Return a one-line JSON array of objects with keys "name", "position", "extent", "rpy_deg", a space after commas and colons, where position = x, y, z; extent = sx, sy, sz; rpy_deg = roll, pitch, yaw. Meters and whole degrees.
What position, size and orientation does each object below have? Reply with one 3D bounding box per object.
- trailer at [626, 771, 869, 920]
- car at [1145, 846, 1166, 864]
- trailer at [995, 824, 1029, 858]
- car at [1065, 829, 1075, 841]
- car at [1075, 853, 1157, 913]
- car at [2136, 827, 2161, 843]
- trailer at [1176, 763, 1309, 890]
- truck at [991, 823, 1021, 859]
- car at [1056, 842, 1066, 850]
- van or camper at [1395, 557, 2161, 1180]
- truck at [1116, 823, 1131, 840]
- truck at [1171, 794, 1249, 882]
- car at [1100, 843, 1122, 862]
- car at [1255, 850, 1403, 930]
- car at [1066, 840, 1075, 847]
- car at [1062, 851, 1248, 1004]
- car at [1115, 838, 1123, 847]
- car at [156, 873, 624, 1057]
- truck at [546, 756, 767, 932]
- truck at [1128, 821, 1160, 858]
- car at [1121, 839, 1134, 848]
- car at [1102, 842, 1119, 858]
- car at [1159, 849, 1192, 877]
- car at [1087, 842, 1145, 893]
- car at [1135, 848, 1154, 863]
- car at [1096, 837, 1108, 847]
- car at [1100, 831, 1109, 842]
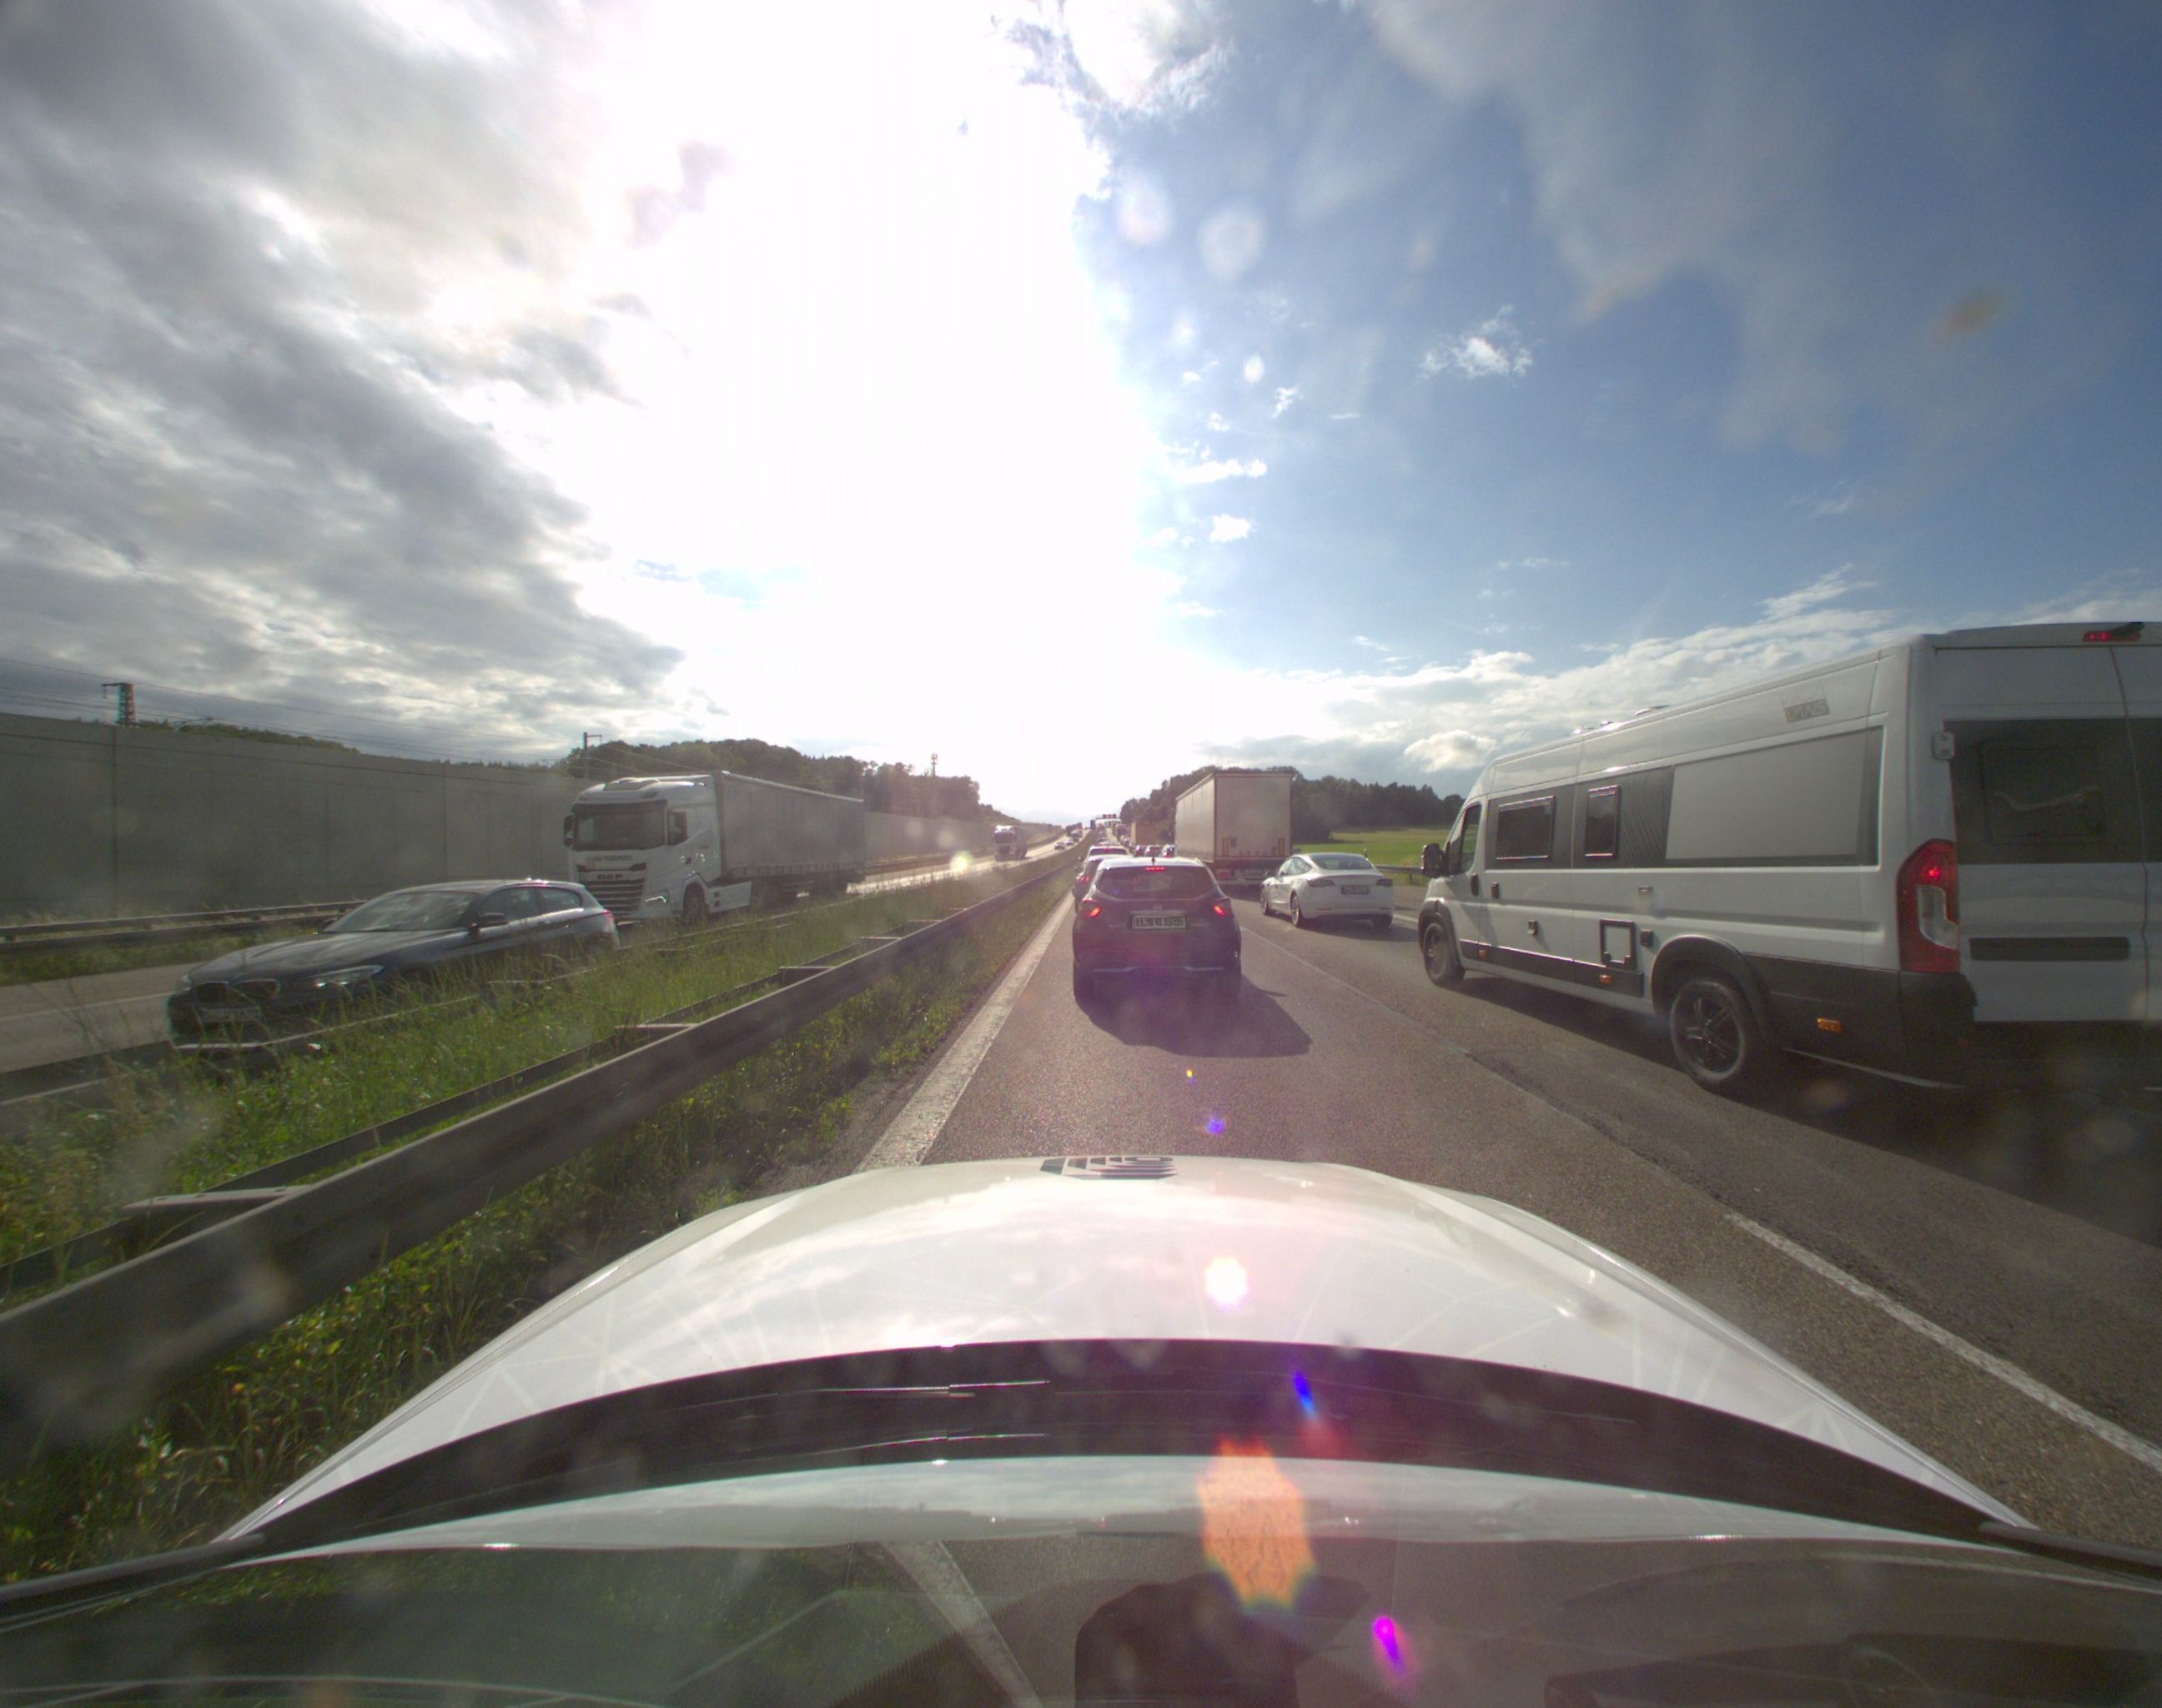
[{"name": "trailer", "position": [-11.013, -0.249, 29.379], "extent": [2.674, 4.037, 13.795], "rpy_deg": [-2, 0, 1]}, {"name": "car", "position": [7.589, 0.066, 83.342], "extent": [1.866, 1.644, 4.234], "rpy_deg": [-1, 1, 2]}, {"name": "trailer", "position": [-8.871, -1.575, 106.449], "extent": [2.780, 4.077, 13.523], "rpy_deg": [-3, 0, 1]}, {"name": "car", "position": [-2.763, -4.728, 207.057], "extent": [2.096, 2.870, 5.637], "rpy_deg": [-1, 0, 1]}, {"name": "car", "position": [0.888, 0.677, 21.008], "extent": [1.866, 1.357, 4.234], "rpy_deg": [-1, 0, 2]}, {"name": "car", "position": [98.602, -1.739, 74.725], "extent": [4.255, 1.432, 1.810], "rpy_deg": [0, 0, -43]}, {"name": "trailer", "position": [5.899, -0.796, 32.505], "extent": [3.118, 4.011, 13.373], "rpy_deg": [0, -1, 2]}, {"name": "truck", "position": [-9.037, -1.580, 98.953], "extent": [2.766, 4.088, 5.533], "rpy_deg": [-3, 0, 1]}, {"name": "car", "position": [-3.616, -1.478, 149.506], "extent": [1.646, 1.451, 3.957], "rpy_deg": [-1, 0, 1]}, {"name": "van or camper", "position": [4.836, 0.046, 6.692], "extent": [2.207, 2.681, 6.335], "rpy_deg": [-1, 0, 2]}, {"name": "truck", "position": [12.022, -6.317, 231.257], "extent": [3.453, 4.576, 12.442], "rpy_deg": [0, 1, 0]}, {"name": "truck", "position": [6.186, -0.702, 39.778], "extent": [3.121, 4.016, 5.166], "rpy_deg": [0, -1, 2]}, {"name": "car", "position": [2.694, -0.174, 73.350], "extent": [1.866, 1.644, 4.234], "rpy_deg": [-1, 1, 2]}, {"name": "car", "position": [4.986, 0.644, 17.041], "extent": [1.782, 1.394, 4.437], "rpy_deg": [-1, 0, 1]}, {"name": "car", "position": [-2.359, -2.276, 179.489], "extent": [1.866, 1.451, 4.234], "rpy_deg": [-1, 0, 2]}, {"name": "car", "position": [0.787, 0.710, 10.006], "extent": [1.766, 1.451, 4.234], "rpy_deg": [-1, 0, 2]}, {"name": "car", "position": [9.566, -2.927, 205.780], "extent": [1.866, 2.158, 5.214], "rpy_deg": [-1, 3, 1]}, {"name": "car", "position": [-6.894, 0.981, 8.779], "extent": [1.627, 1.401, 3.897], "rpy_deg": [-1, 0, 1]}, {"name": "truck", "position": [-11.176, -0.246, 22.194], "extent": [2.675, 4.068, 5.881], "rpy_deg": [-2, 0, 1]}, {"name": "truck", "position": [8.141, -1.772, 106.299], "extent": [3.286, 4.577, 12.440], "rpy_deg": [0, 0, 0]}, {"name": "car", "position": [8.493, -1.906, 148.700], "extent": [1.868, 1.644, 4.230], "rpy_deg": [-1, 2, -2]}, {"name": "car", "position": [3.351, -0.453, 92.191], "extent": [1.866, 1.644, 4.235], "rpy_deg": [-1, 2, 2]}, {"name": "car", "position": [5.781, 0.535, 50.092], "extent": [1.691, 1.610, 4.440], "rpy_deg": [-1, 0, 3]}, {"name": "car", "position": [1.209, 0.440, 28.890], "extent": [1.866, 1.644, 4.234], "rpy_deg": [-1, 0, 2]}, {"name": "car", "position": [7.199, 0.115, 92.733], "extent": [1.866, 1.644, 4.234], "rpy_deg": [-1, 1, 2]}, {"name": "car", "position": [3.497, -2.012, 133.781], "extent": [1.867, 1.644, 4.233], "rpy_deg": [-1, 2, 1]}, {"name": "car", "position": [5.086, -3.826, 177.748], "extent": [1.866, 2.158, 5.214], "rpy_deg": [-1, 3, 1]}]
